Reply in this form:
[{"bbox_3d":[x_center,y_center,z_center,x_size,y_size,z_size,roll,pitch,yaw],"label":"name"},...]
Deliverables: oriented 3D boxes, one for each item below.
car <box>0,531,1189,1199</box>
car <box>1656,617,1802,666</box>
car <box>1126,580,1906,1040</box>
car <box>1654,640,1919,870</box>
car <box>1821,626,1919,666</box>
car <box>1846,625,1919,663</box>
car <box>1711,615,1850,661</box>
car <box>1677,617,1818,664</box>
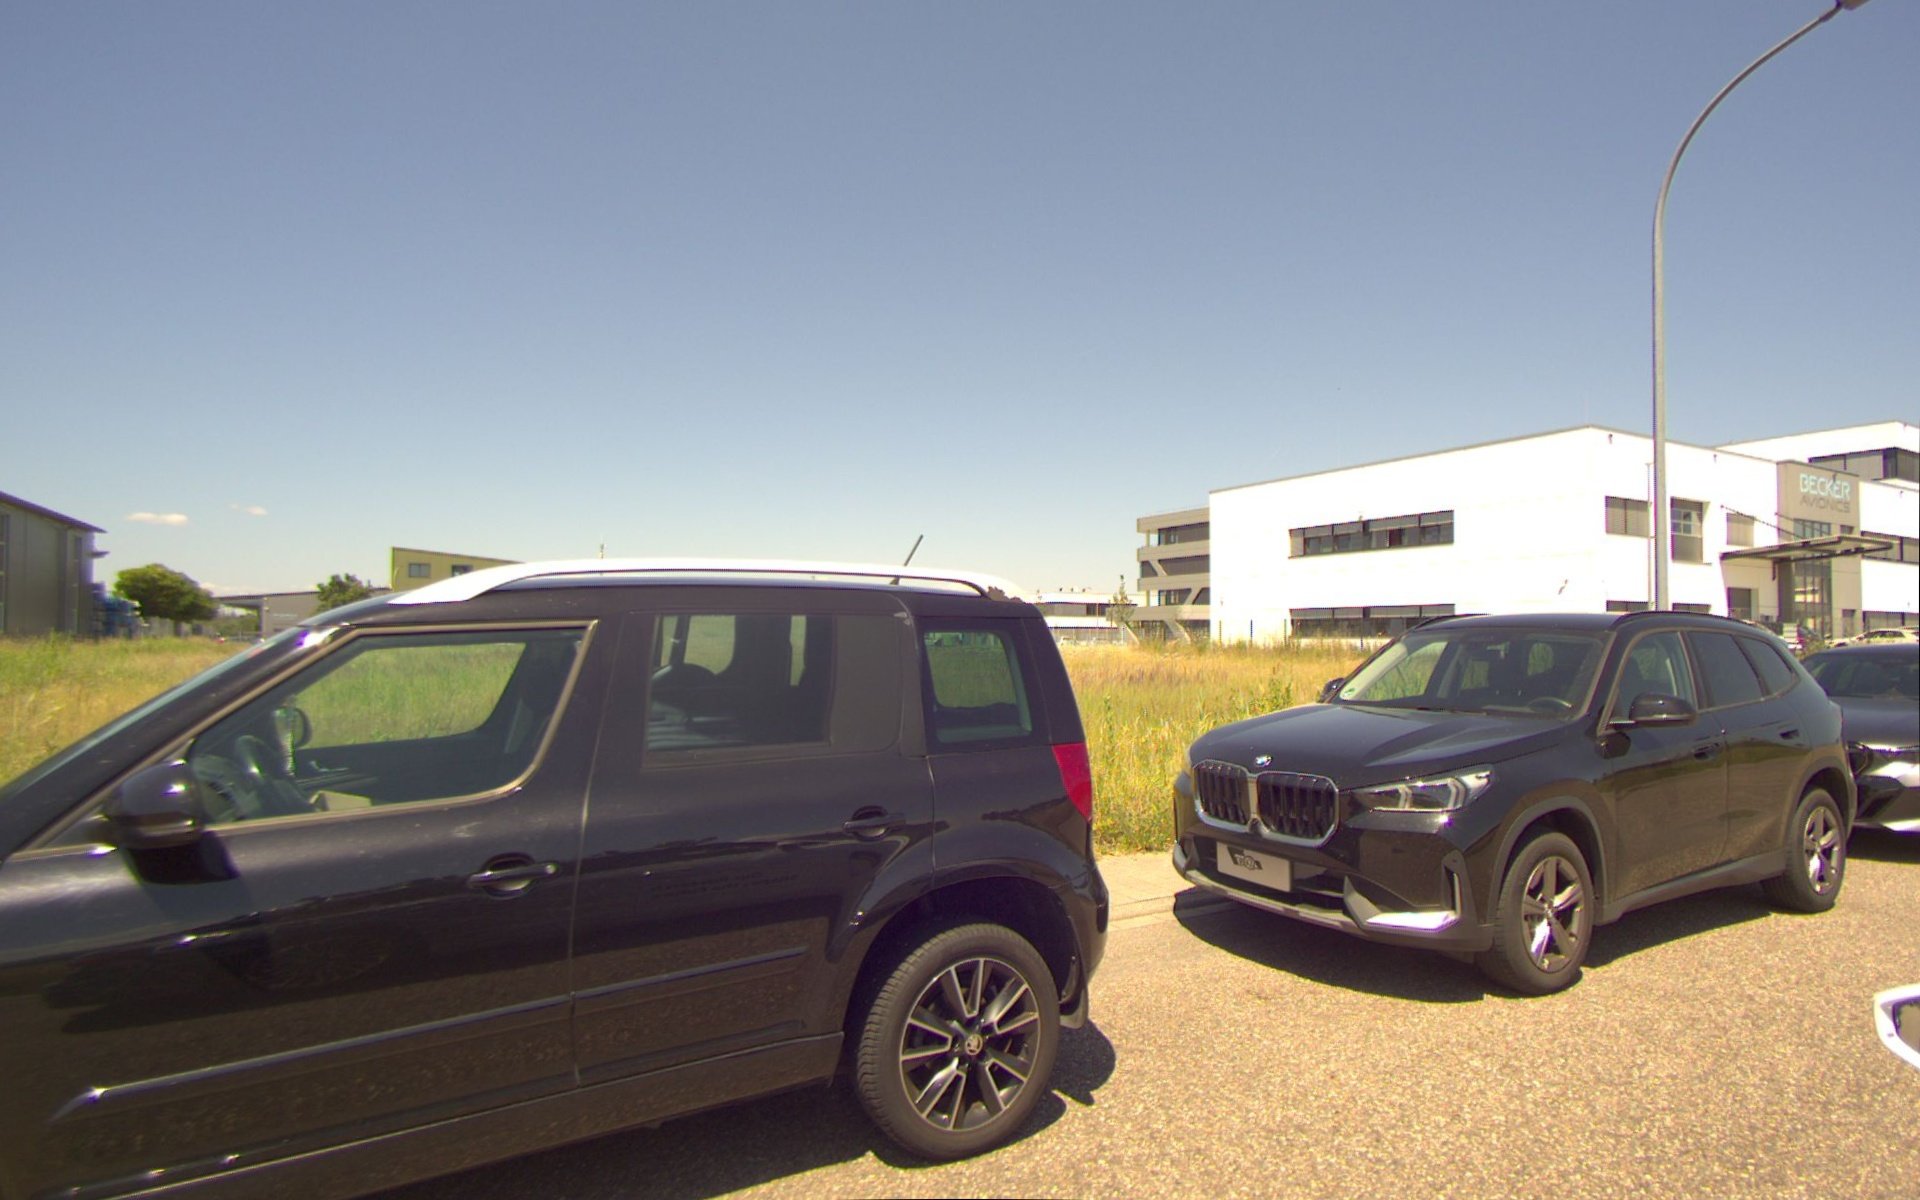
[{"bbox_3d":[-1.490,0.764,2.874,4.186,1.685,1.669,1,-3,-30],"label":"car"},{"bbox_3d":[32.600,1.765,42.712,2.007,1.968,4.510,1,-3,-29],"label":"car"},{"bbox_3d":[3.241,0.841,5.613,4.498,1.685,1.760,1,-3,-30],"label":"car"},{"bbox_3d":[8.099,1.093,8.478,4.955,1.505,1.760,1,-3,-30],"label":"car"},{"bbox_3d":[47.741,2.381,51.914,2.007,1.968,4.510,1,-3,-29],"label":"car"},{"bbox_3d":[50.296,2.330,53.279,2.007,1.968,4.510,1,-3,-29],"label":"car"},{"bbox_3d":[37.525,1.766,46.058,2.007,1.968,4.510,1,-3,-29],"label":"car"},{"bbox_3d":[34.901,1.830,44.670,2.007,1.968,4.510,1,-3,-29],"label":"car"}]
